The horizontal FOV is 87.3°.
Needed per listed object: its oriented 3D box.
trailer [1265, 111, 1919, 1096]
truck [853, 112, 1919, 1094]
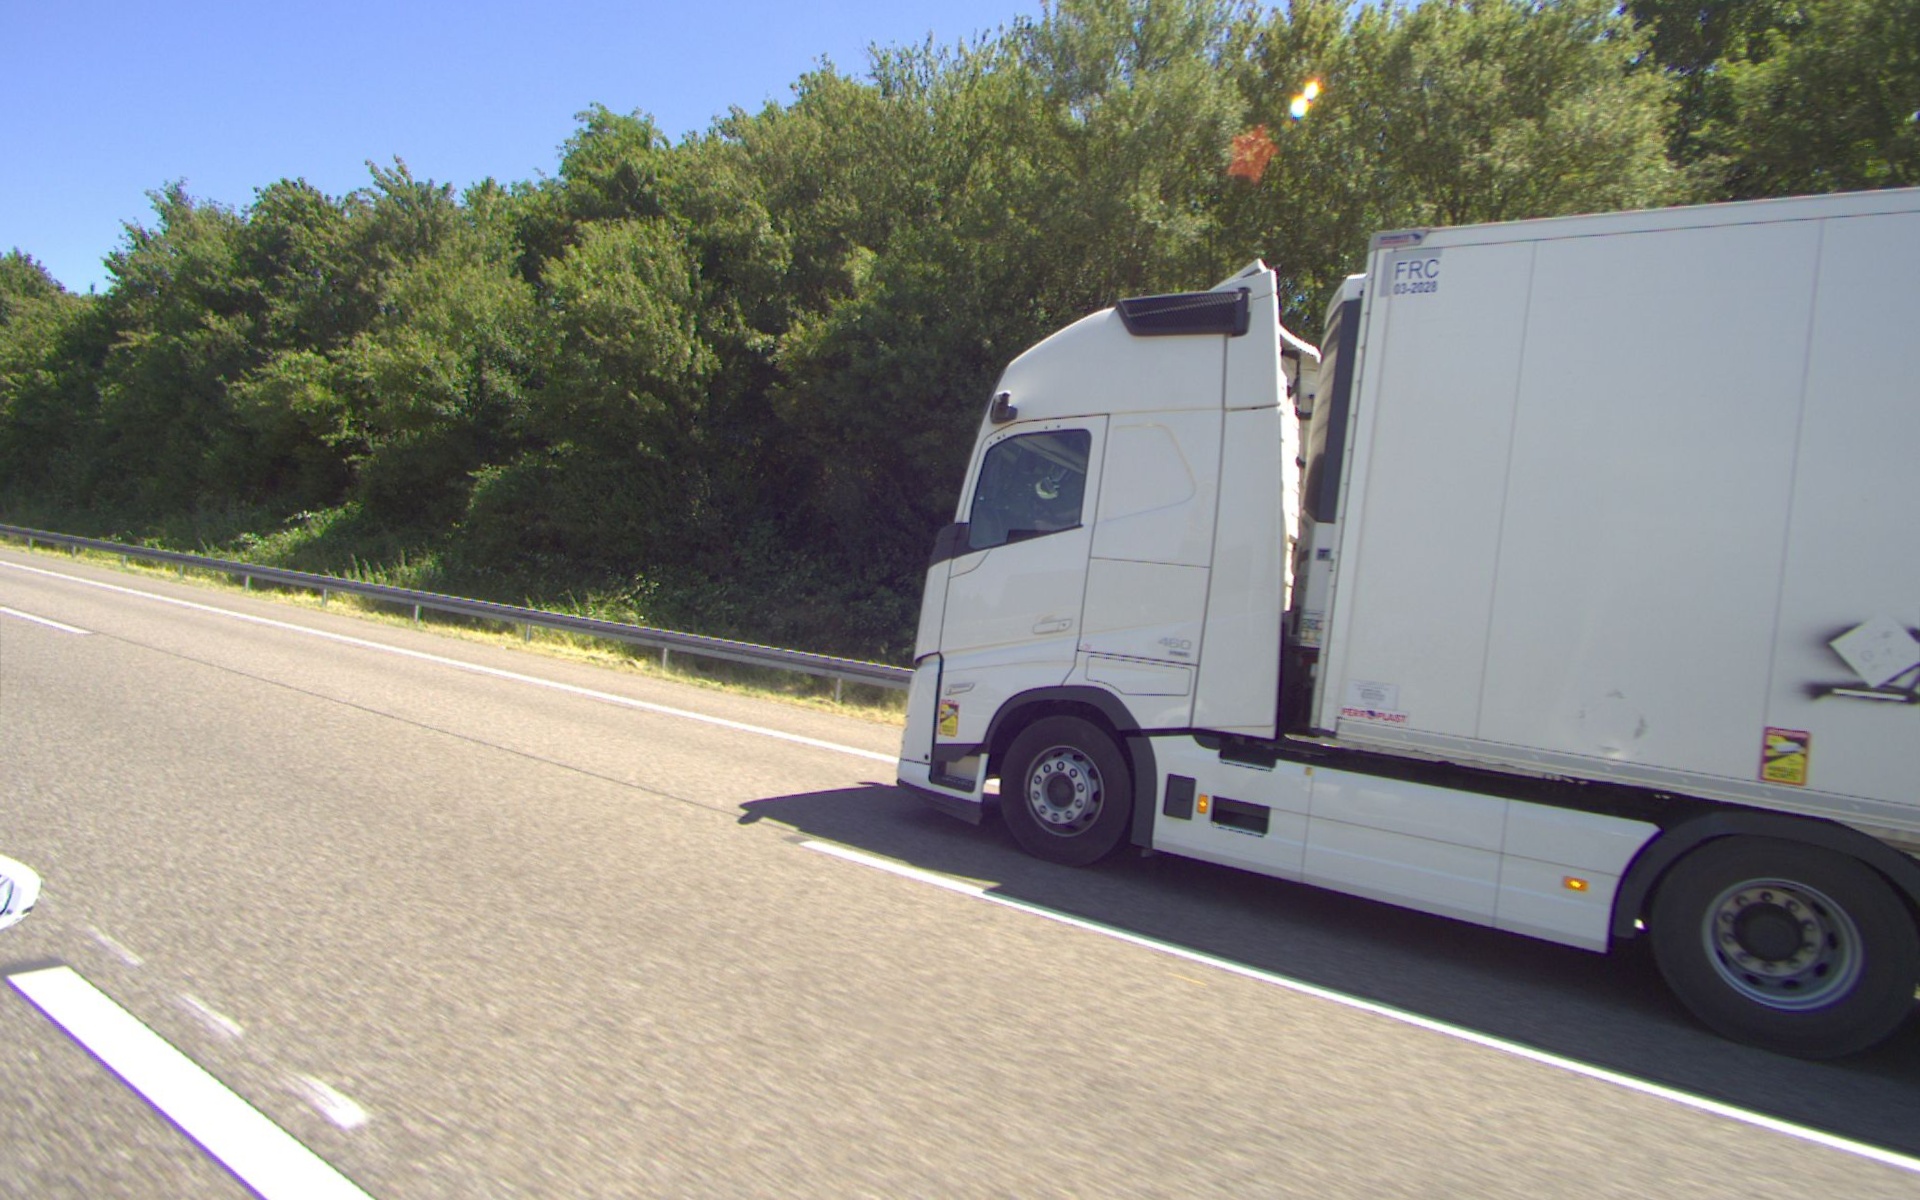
[{"bbox_3d":[8.538,0.518,3.518,13.603,4.274,3.045,7,-1,31],"label":"trailer"},{"bbox_3d":[2.785,-0.144,6.988,5.947,4.265,3.053,7,-1,31],"label":"truck"}]
